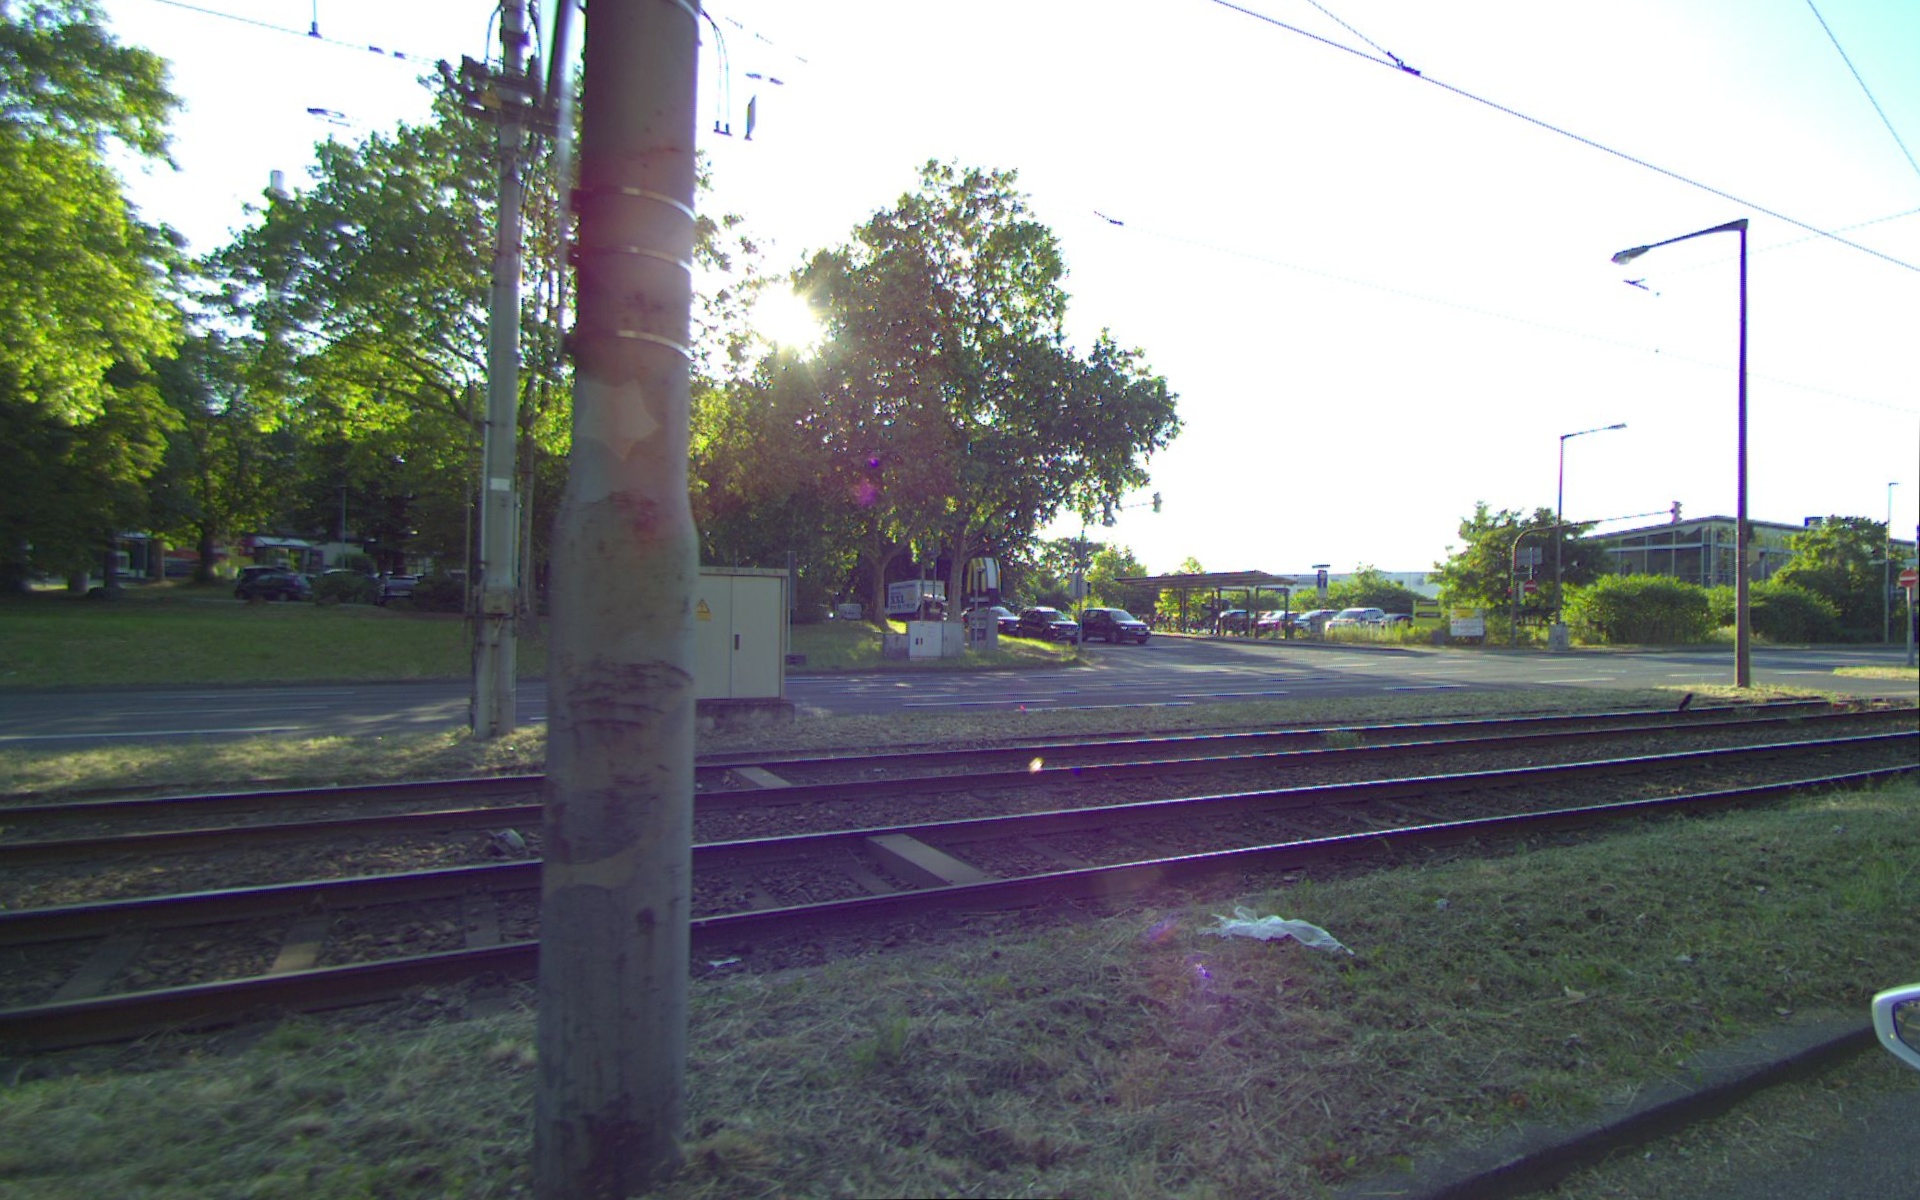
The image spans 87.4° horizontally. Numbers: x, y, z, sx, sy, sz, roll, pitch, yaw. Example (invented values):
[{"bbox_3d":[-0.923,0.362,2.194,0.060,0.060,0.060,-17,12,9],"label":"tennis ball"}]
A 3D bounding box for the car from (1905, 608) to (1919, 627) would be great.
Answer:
[{"bbox_3d":[75.902,1.408,78.197,1.438,1.510,3.127,1,0,-30],"label":"car"}]

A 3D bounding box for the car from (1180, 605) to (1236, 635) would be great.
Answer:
[{"bbox_3d":[19.453,1.598,78.797,3.945,2.272,1.836,1,0,-25],"label":"car"}]

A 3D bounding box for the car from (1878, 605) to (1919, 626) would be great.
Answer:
[{"bbox_3d":[67.164,1.119,70.934,1.438,1.410,3.127,1,0,-30],"label":"car"}]

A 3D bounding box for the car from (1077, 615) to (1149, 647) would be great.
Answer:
[{"bbox_3d":[7.409,1.490,48.986,1.757,1.405,4.049,1,0,-20],"label":"car"}]

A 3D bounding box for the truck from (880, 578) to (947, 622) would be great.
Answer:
[{"bbox_3d":[-4.029,-0.007,84.738,2.698,3.433,8.263,1,0,-25],"label":"truck"}]

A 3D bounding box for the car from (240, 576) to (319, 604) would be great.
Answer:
[{"bbox_3d":[-34.536,-0.502,50.974,3.452,1.350,1.525,1,0,18],"label":"car"}]

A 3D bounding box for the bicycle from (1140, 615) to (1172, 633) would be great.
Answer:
[{"bbox_3d":[11.940,1.465,61.244,2.172,1.079,0.661,1,0,-38],"label":"bicycle"}]

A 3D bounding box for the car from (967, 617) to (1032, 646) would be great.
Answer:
[{"bbox_3d":[2.015,1.641,52.909,1.760,1.405,4.042,1,0,-25],"label":"car"}]

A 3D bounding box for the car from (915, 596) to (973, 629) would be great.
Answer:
[{"bbox_3d":[-0.973,0.730,58.548,1.972,1.884,3.977,1,-1,-24],"label":"car"}]

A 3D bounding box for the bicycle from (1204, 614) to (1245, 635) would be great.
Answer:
[{"bbox_3d":[14.779,1.366,56.133,2.153,1.079,0.667,1,0,-10],"label":"bicycle"}]

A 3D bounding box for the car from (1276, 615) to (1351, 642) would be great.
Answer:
[{"bbox_3d":[20.542,1.659,58.431,3.945,1.461,1.836,1,0,-25],"label":"car"}]

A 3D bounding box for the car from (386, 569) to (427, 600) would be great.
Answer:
[{"bbox_3d":[-26.153,-0.719,47.556,1.504,1.350,3.498,1,0,-26],"label":"car"}]

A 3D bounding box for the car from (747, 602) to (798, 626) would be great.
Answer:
[{"bbox_3d":[-10.516,0.775,56.147,1.653,1.277,3.971,1,0,-28],"label":"car"}]

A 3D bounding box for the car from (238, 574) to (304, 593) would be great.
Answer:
[{"bbox_3d":[-44.932,-1.060,65.491,3.490,1.135,1.352,1,0,-38],"label":"car"}]

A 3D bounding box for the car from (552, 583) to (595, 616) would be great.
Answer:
[{"bbox_3d":[-19.602,-0.024,51.051,1.832,1.550,3.984,1,0,-18],"label":"car"}]

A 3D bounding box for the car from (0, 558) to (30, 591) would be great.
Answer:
[{"bbox_3d":[-40.183,-1.056,40.984,1.496,1.350,3.518,1,0,-7],"label":"car"}]

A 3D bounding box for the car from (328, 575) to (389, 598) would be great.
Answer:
[{"bbox_3d":[-41.514,-0.890,69.403,3.490,1.480,1.352,1,0,-38],"label":"car"}]

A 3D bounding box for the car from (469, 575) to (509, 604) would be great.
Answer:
[{"bbox_3d":[-23.551,-0.519,50.336,1.559,1.350,3.504,1,0,-21],"label":"car"}]

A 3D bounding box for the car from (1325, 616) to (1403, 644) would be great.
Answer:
[{"bbox_3d":[22.416,1.660,55.714,3.945,1.461,1.836,1,0,-25],"label":"car"}]

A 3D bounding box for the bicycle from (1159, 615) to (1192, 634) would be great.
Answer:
[{"bbox_3d":[12.995,1.477,60.550,2.172,1.079,0.661,1,0,-38],"label":"bicycle"}]

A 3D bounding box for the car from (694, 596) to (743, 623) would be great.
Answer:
[{"bbox_3d":[-13.194,0.491,54.628,1.653,1.390,3.971,1,0,-28],"label":"car"}]

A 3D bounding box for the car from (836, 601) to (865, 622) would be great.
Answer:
[{"bbox_3d":[-10.954,1.157,100.186,1.970,2.040,3.982,1,0,-20],"label":"car"}]

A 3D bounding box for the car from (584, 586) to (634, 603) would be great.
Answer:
[{"bbox_3d":[-25.684,-0.389,73.567,3.239,1.212,1.350,1,0,-42],"label":"car"}]

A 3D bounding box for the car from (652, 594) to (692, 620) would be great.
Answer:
[{"bbox_3d":[-18.336,0.433,63.784,1.897,1.550,3.976,1,0,-24],"label":"car"}]

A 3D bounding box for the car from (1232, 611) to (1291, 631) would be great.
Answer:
[{"bbox_3d":[22.272,1.553,74.175,3.945,1.461,1.836,1,0,-25],"label":"car"}]

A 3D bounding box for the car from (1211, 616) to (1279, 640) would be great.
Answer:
[{"bbox_3d":[18.257,1.807,64.410,3.945,1.461,1.836,1,0,-25],"label":"car"}]

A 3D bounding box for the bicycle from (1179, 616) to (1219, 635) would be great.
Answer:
[{"bbox_3d":[14.015,1.495,58.921,2.148,1.079,0.668,1,0,3],"label":"bicycle"}]

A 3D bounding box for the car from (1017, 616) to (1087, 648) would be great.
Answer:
[{"bbox_3d":[4.336,1.505,47.895,1.757,1.405,4.049,1,0,-20],"label":"car"}]

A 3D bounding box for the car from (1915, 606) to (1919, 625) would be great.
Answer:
[{"bbox_3d":[79.257,1.268,80.860,1.438,1.510,3.127,1,0,-30],"label":"car"}]

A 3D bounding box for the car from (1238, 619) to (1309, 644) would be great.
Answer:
[{"bbox_3d":[19.194,1.915,61.486,3.945,1.461,1.836,1,0,-25],"label":"car"}]
